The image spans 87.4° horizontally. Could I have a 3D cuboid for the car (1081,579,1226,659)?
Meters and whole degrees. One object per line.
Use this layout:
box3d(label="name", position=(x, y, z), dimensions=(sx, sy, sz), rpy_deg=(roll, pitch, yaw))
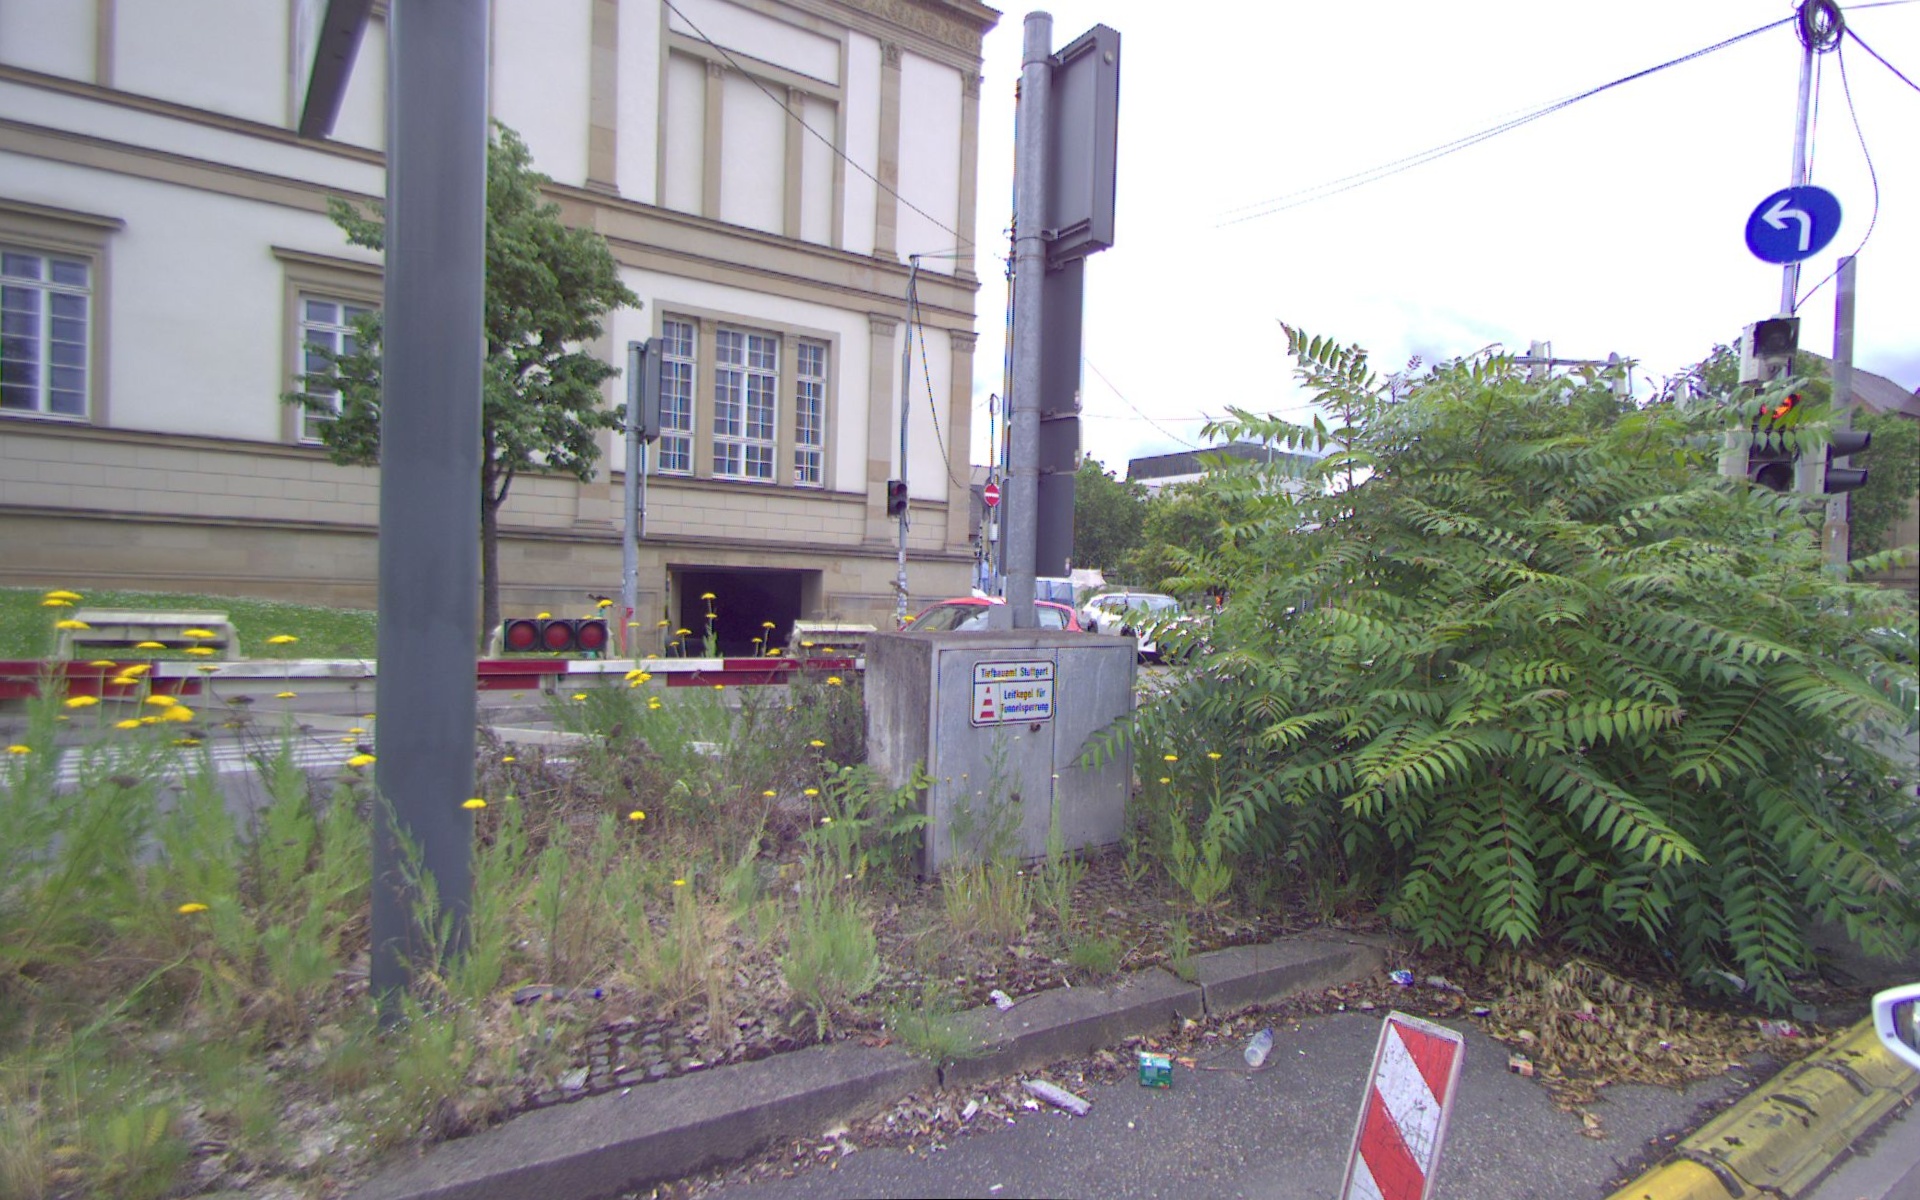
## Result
box3d(label="car", position=(4.536, 0.430, 24.255), dimensions=(1.844, 1.713, 4.257), rpy_deg=(2, 0, -13))

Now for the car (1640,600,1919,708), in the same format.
box3d(label="car", position=(15.068, 0.883, 17.668), dimensions=(2.002, 1.646, 4.771), rpy_deg=(2, 0, -38))

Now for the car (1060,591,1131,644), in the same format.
box3d(label="car", position=(4.709, 0.592, 35.365), dimensions=(1.839, 1.713, 4.268), rpy_deg=(2, 0, -1))

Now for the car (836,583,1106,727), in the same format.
box3d(label="car", position=(0.271, 0.635, 12.853), dimensions=(1.621, 1.497, 3.562), rpy_deg=(4, 1, 36))

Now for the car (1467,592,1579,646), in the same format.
box3d(label="car", position=(32.265, 1.039, 57.724), dimensions=(1.818, 2.894, 5.269), rpy_deg=(2, 0, -45))
